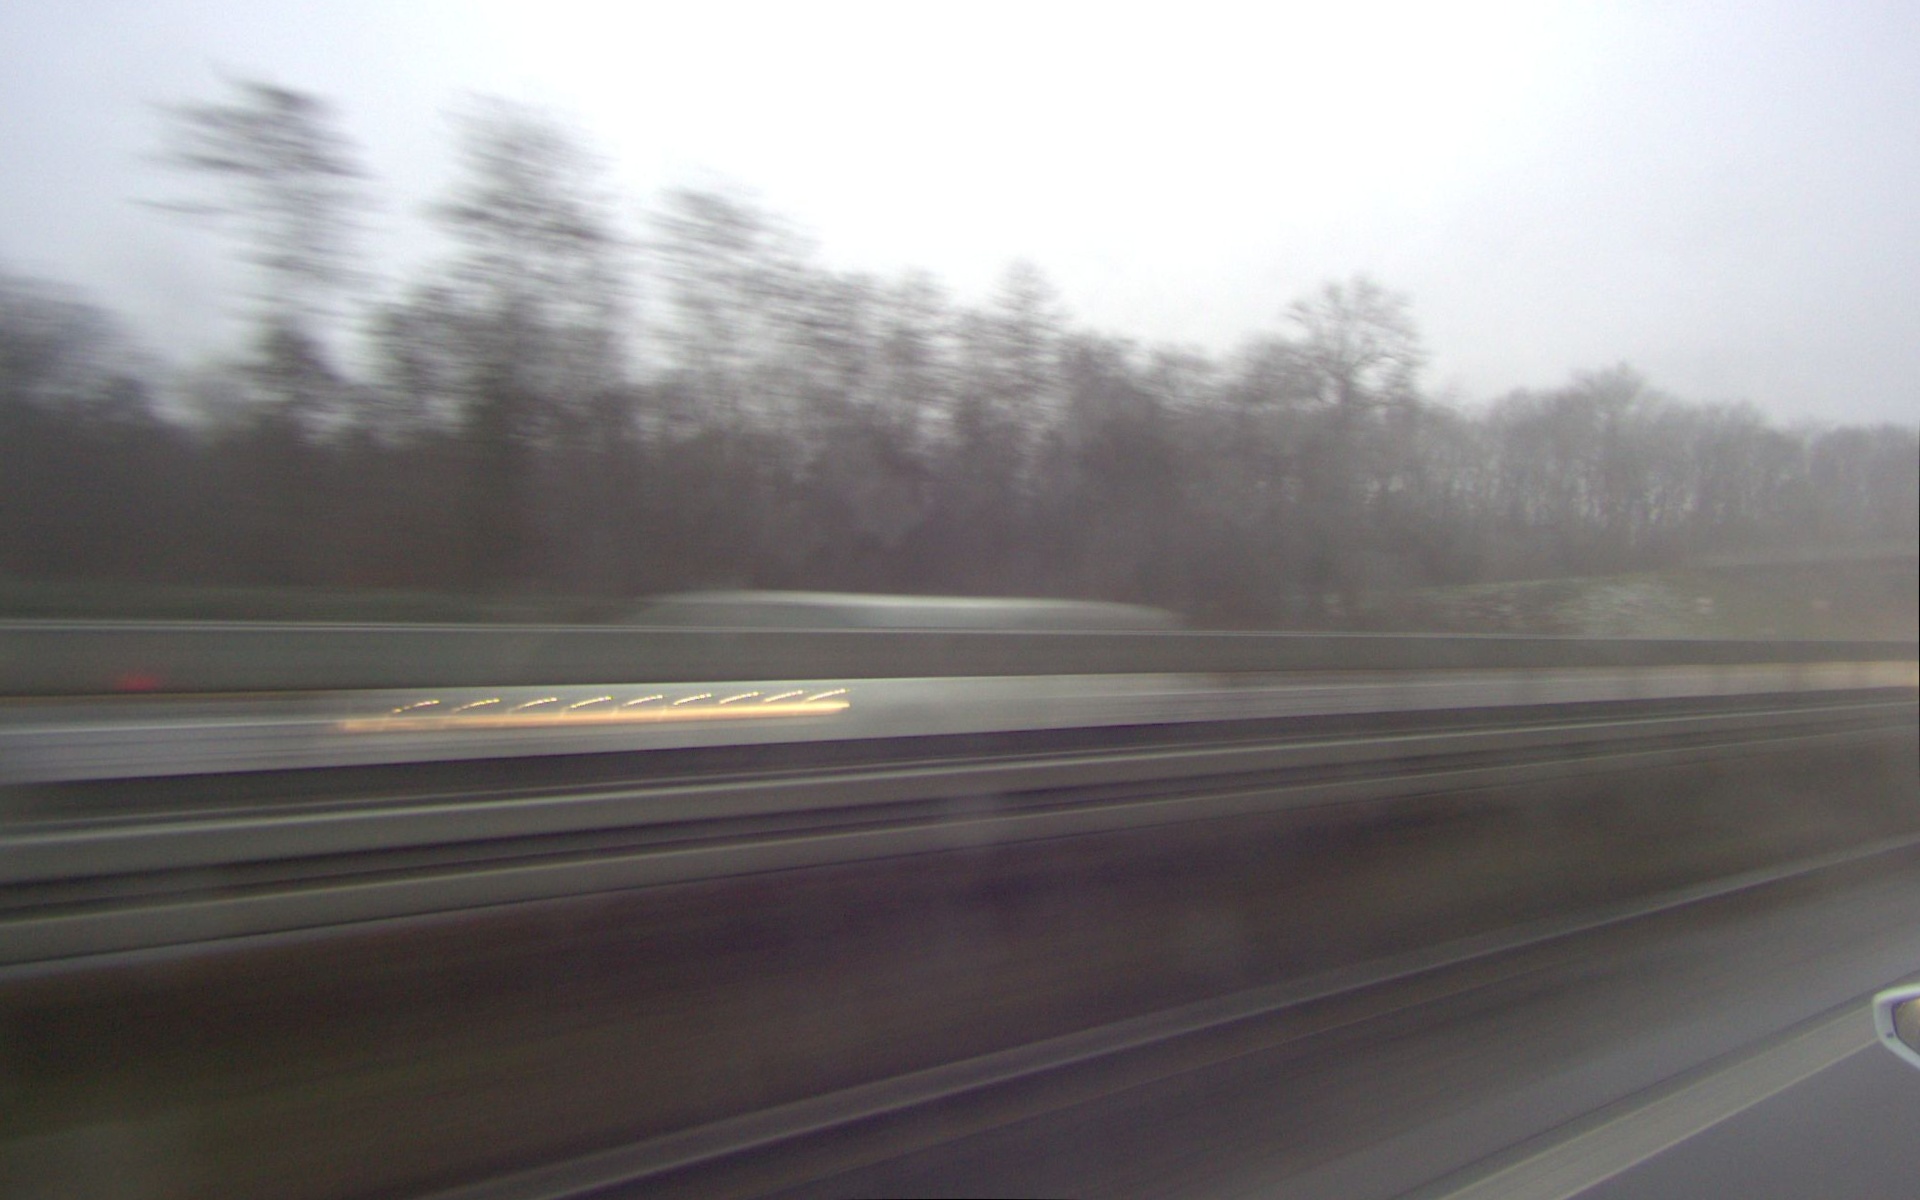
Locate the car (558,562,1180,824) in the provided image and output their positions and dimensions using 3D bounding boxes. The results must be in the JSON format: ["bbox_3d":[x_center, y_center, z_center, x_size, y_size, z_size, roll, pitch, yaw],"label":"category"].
[{"bbox_3d":[-0.584,0.588,7.819,4.523,1.554,1.676,2,1,-30],"label":"car"}]

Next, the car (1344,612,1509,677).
[{"bbox_3d":[11.875,1.113,25.545,3.953,1.463,1.832,2,1,-30],"label":"car"}]
